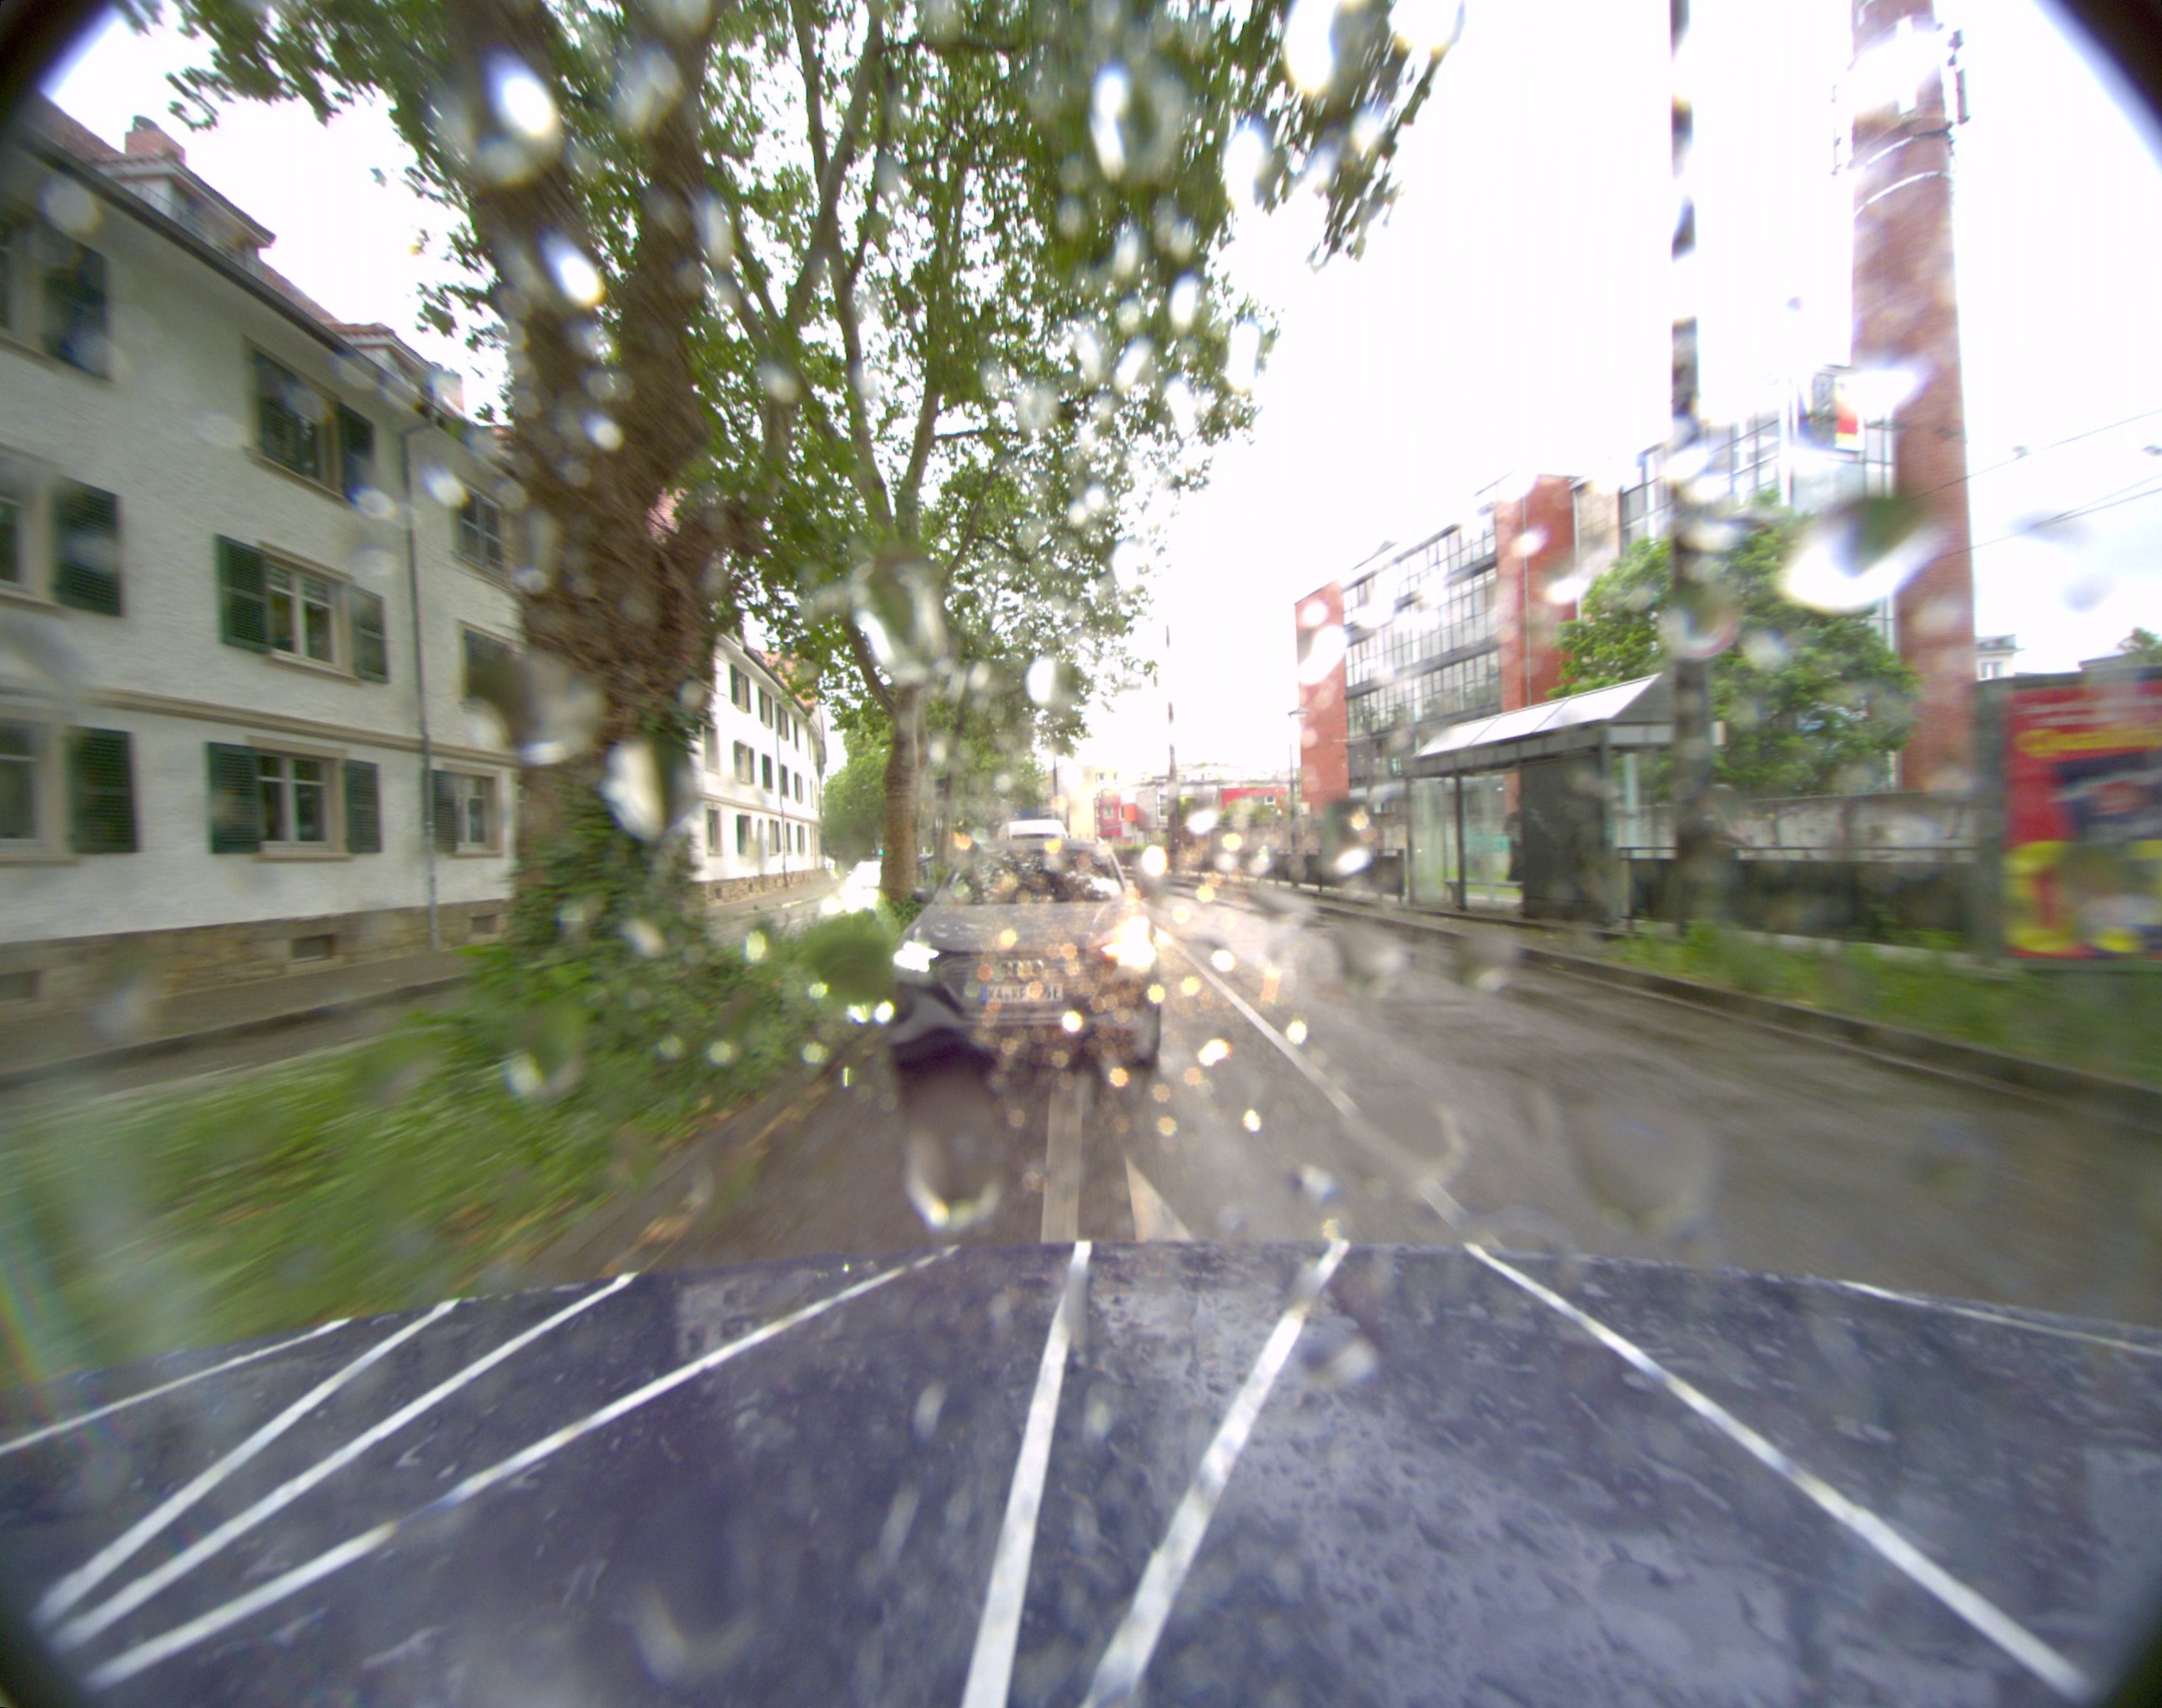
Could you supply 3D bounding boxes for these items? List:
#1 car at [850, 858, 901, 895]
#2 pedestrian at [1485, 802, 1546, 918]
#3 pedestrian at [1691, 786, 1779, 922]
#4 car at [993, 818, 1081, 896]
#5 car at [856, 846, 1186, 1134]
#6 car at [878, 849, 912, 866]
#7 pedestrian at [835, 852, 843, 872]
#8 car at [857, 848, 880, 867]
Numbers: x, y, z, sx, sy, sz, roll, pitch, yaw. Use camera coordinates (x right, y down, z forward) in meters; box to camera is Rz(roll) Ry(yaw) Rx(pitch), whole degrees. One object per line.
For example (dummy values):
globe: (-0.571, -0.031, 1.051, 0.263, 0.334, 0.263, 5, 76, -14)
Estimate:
car: (-9.749, 1.006, 36.270, 1.832, 1.517, 3.996, -2, 1, -8)
pedestrian: (6.698, 0.092, 11.745, 0.629, 1.739, 0.564, -2, 2, 9)
pedestrian: (8.002, -0.005, 9.303, 0.715, 1.594, 0.494, -3, 2, -15)
car: (-1.619, 0.060, 25.561, 2.197, 2.250, 5.406, -3, 1, -10)
car: (-0.421, 0.795, 6.618, 1.917, 1.632, 4.106, -2, 1, -2)
car: (-23.601, 0.456, 96.230, 4.002, 2.002, 1.997, -3, 1, -17)
pedestrian: (-22.249, 0.725, 69.888, 0.674, 1.811, 0.678, -3, 2, -18)
car: (-23.628, 0.380, 84.377, 2.002, 2.002, 3.992, 2, 0, -21)
